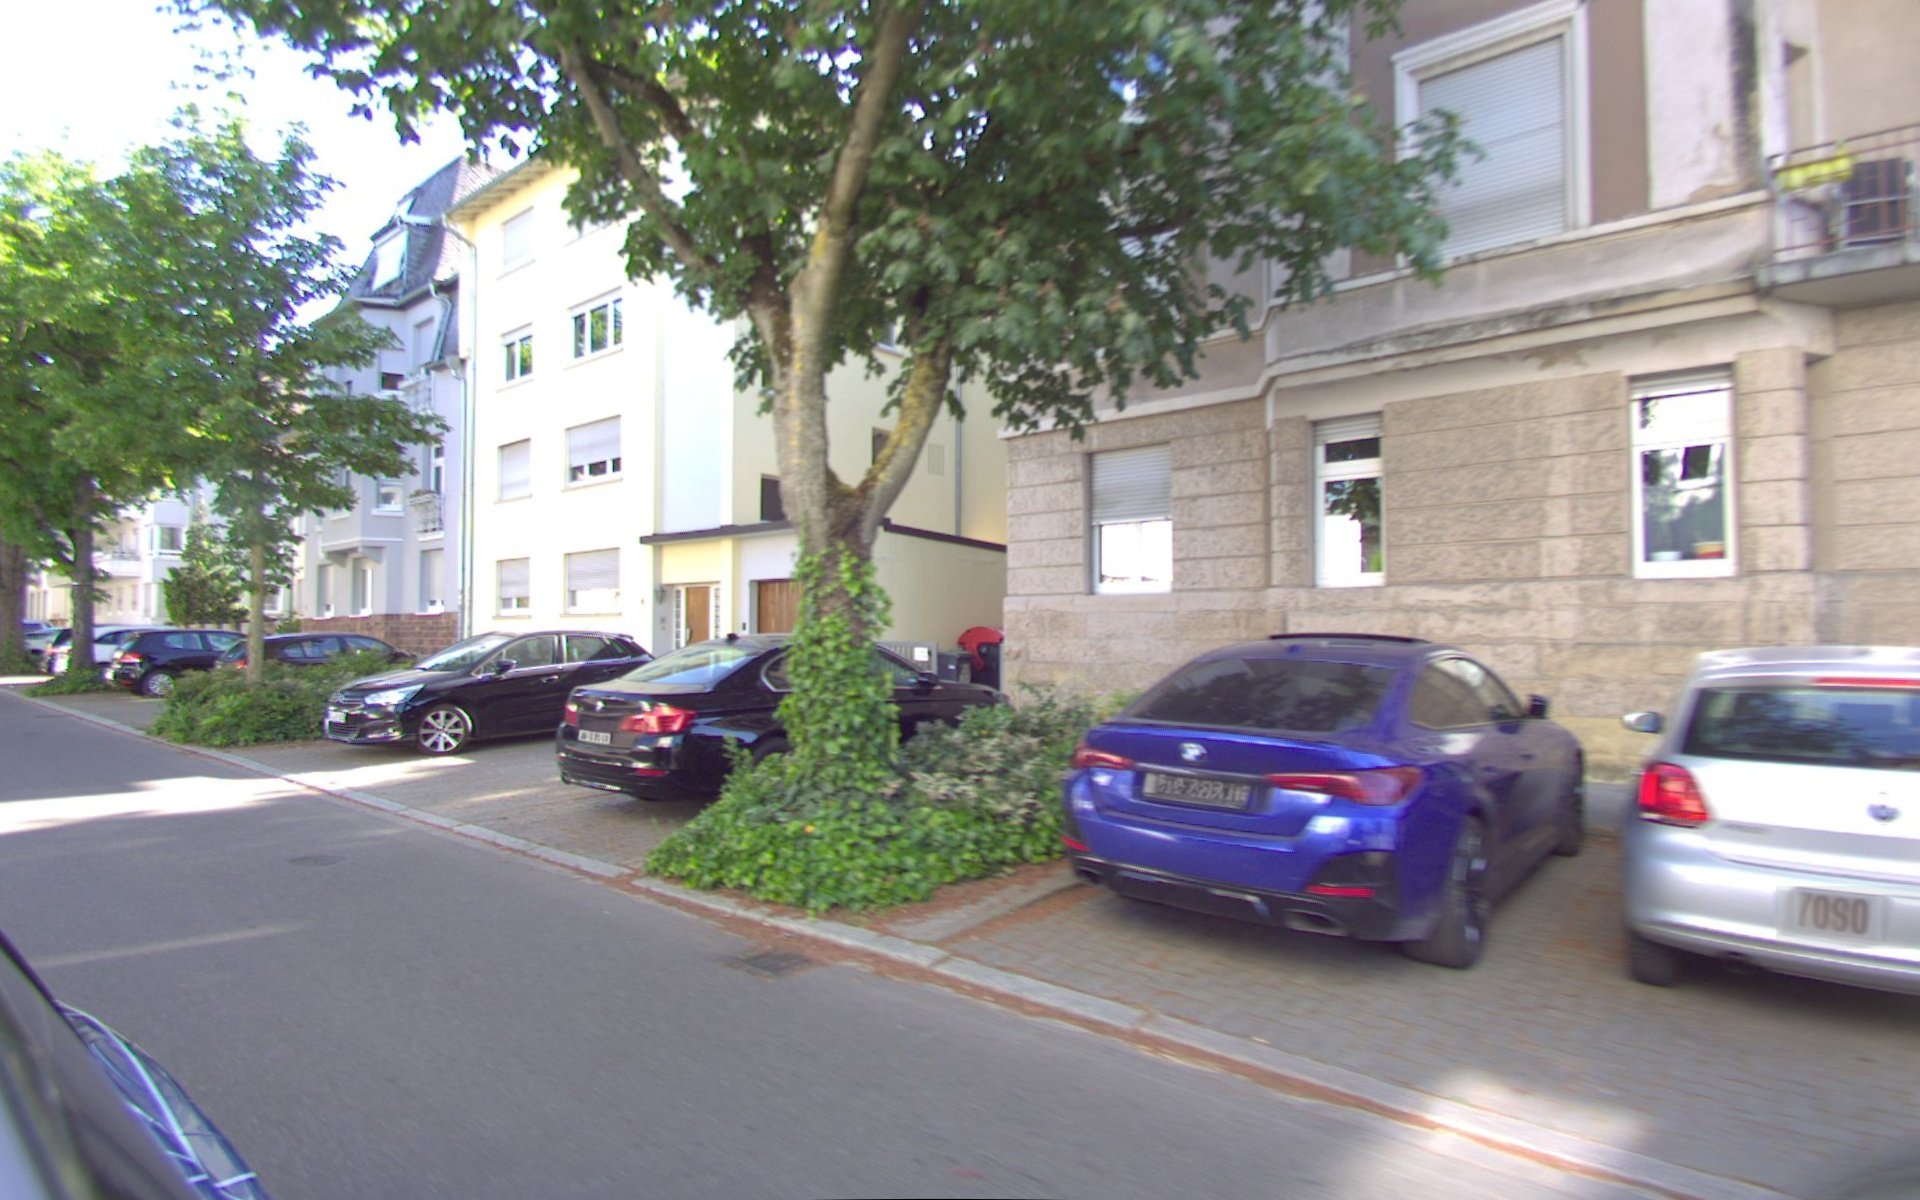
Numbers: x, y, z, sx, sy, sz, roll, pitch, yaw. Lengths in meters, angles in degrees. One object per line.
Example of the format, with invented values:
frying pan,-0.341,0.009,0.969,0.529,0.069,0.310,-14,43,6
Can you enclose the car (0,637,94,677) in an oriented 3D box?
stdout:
car,-36.073,2.164,38.751,1.859,1.510,4.145,-2,-3,39

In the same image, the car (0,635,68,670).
car,-42.683,2.339,45.377,1.662,1.510,3.903,-2,-2,42

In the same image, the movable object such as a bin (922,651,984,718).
movable object such as a bin,-0.118,1.417,17.186,0.832,1.065,0.666,-1,0,41

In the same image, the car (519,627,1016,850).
car,-1.504,1.030,9.410,1.866,1.490,4.430,-1,-1,38

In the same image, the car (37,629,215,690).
car,-24.250,1.676,29.519,1.848,1.587,3.821,-2,-2,43

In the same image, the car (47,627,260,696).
car,-20.501,1.505,25.862,1.805,1.496,3.982,-2,-1,39

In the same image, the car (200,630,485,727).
car,-10.807,1.311,17.928,1.769,1.432,3.947,-3,-2,39

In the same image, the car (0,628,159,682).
car,-29.446,1.794,33.489,1.822,1.665,4.340,-2,-3,41

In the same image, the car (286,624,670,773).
car,-6.152,1.127,13.337,1.996,1.511,4.135,-1,0,36

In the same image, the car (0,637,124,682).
car,-31.415,2.015,34.725,1.695,1.479,3.947,-2,-3,40

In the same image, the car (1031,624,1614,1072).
car,2.420,0.913,5.841,1.866,1.490,4.430,-1,-1,38

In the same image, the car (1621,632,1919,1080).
car,4.326,0.886,4.692,1.729,1.441,3.544,-2,-2,39

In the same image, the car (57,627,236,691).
car,-22.158,1.557,27.673,1.767,1.587,3.485,-2,-1,35

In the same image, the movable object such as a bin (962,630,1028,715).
movable object such as a bin,0.615,1.240,17.735,0.948,1.408,0.666,-1,0,41

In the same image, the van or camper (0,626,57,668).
van or camper,-44.983,2.158,46.886,1.963,1.929,4.451,-2,-2,40

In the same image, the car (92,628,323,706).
car,-16.957,1.438,22.928,1.800,1.455,3.977,-1,0,44

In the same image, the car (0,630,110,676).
car,-33.751,1.914,36.890,1.876,1.604,3.948,-2,-3,38
